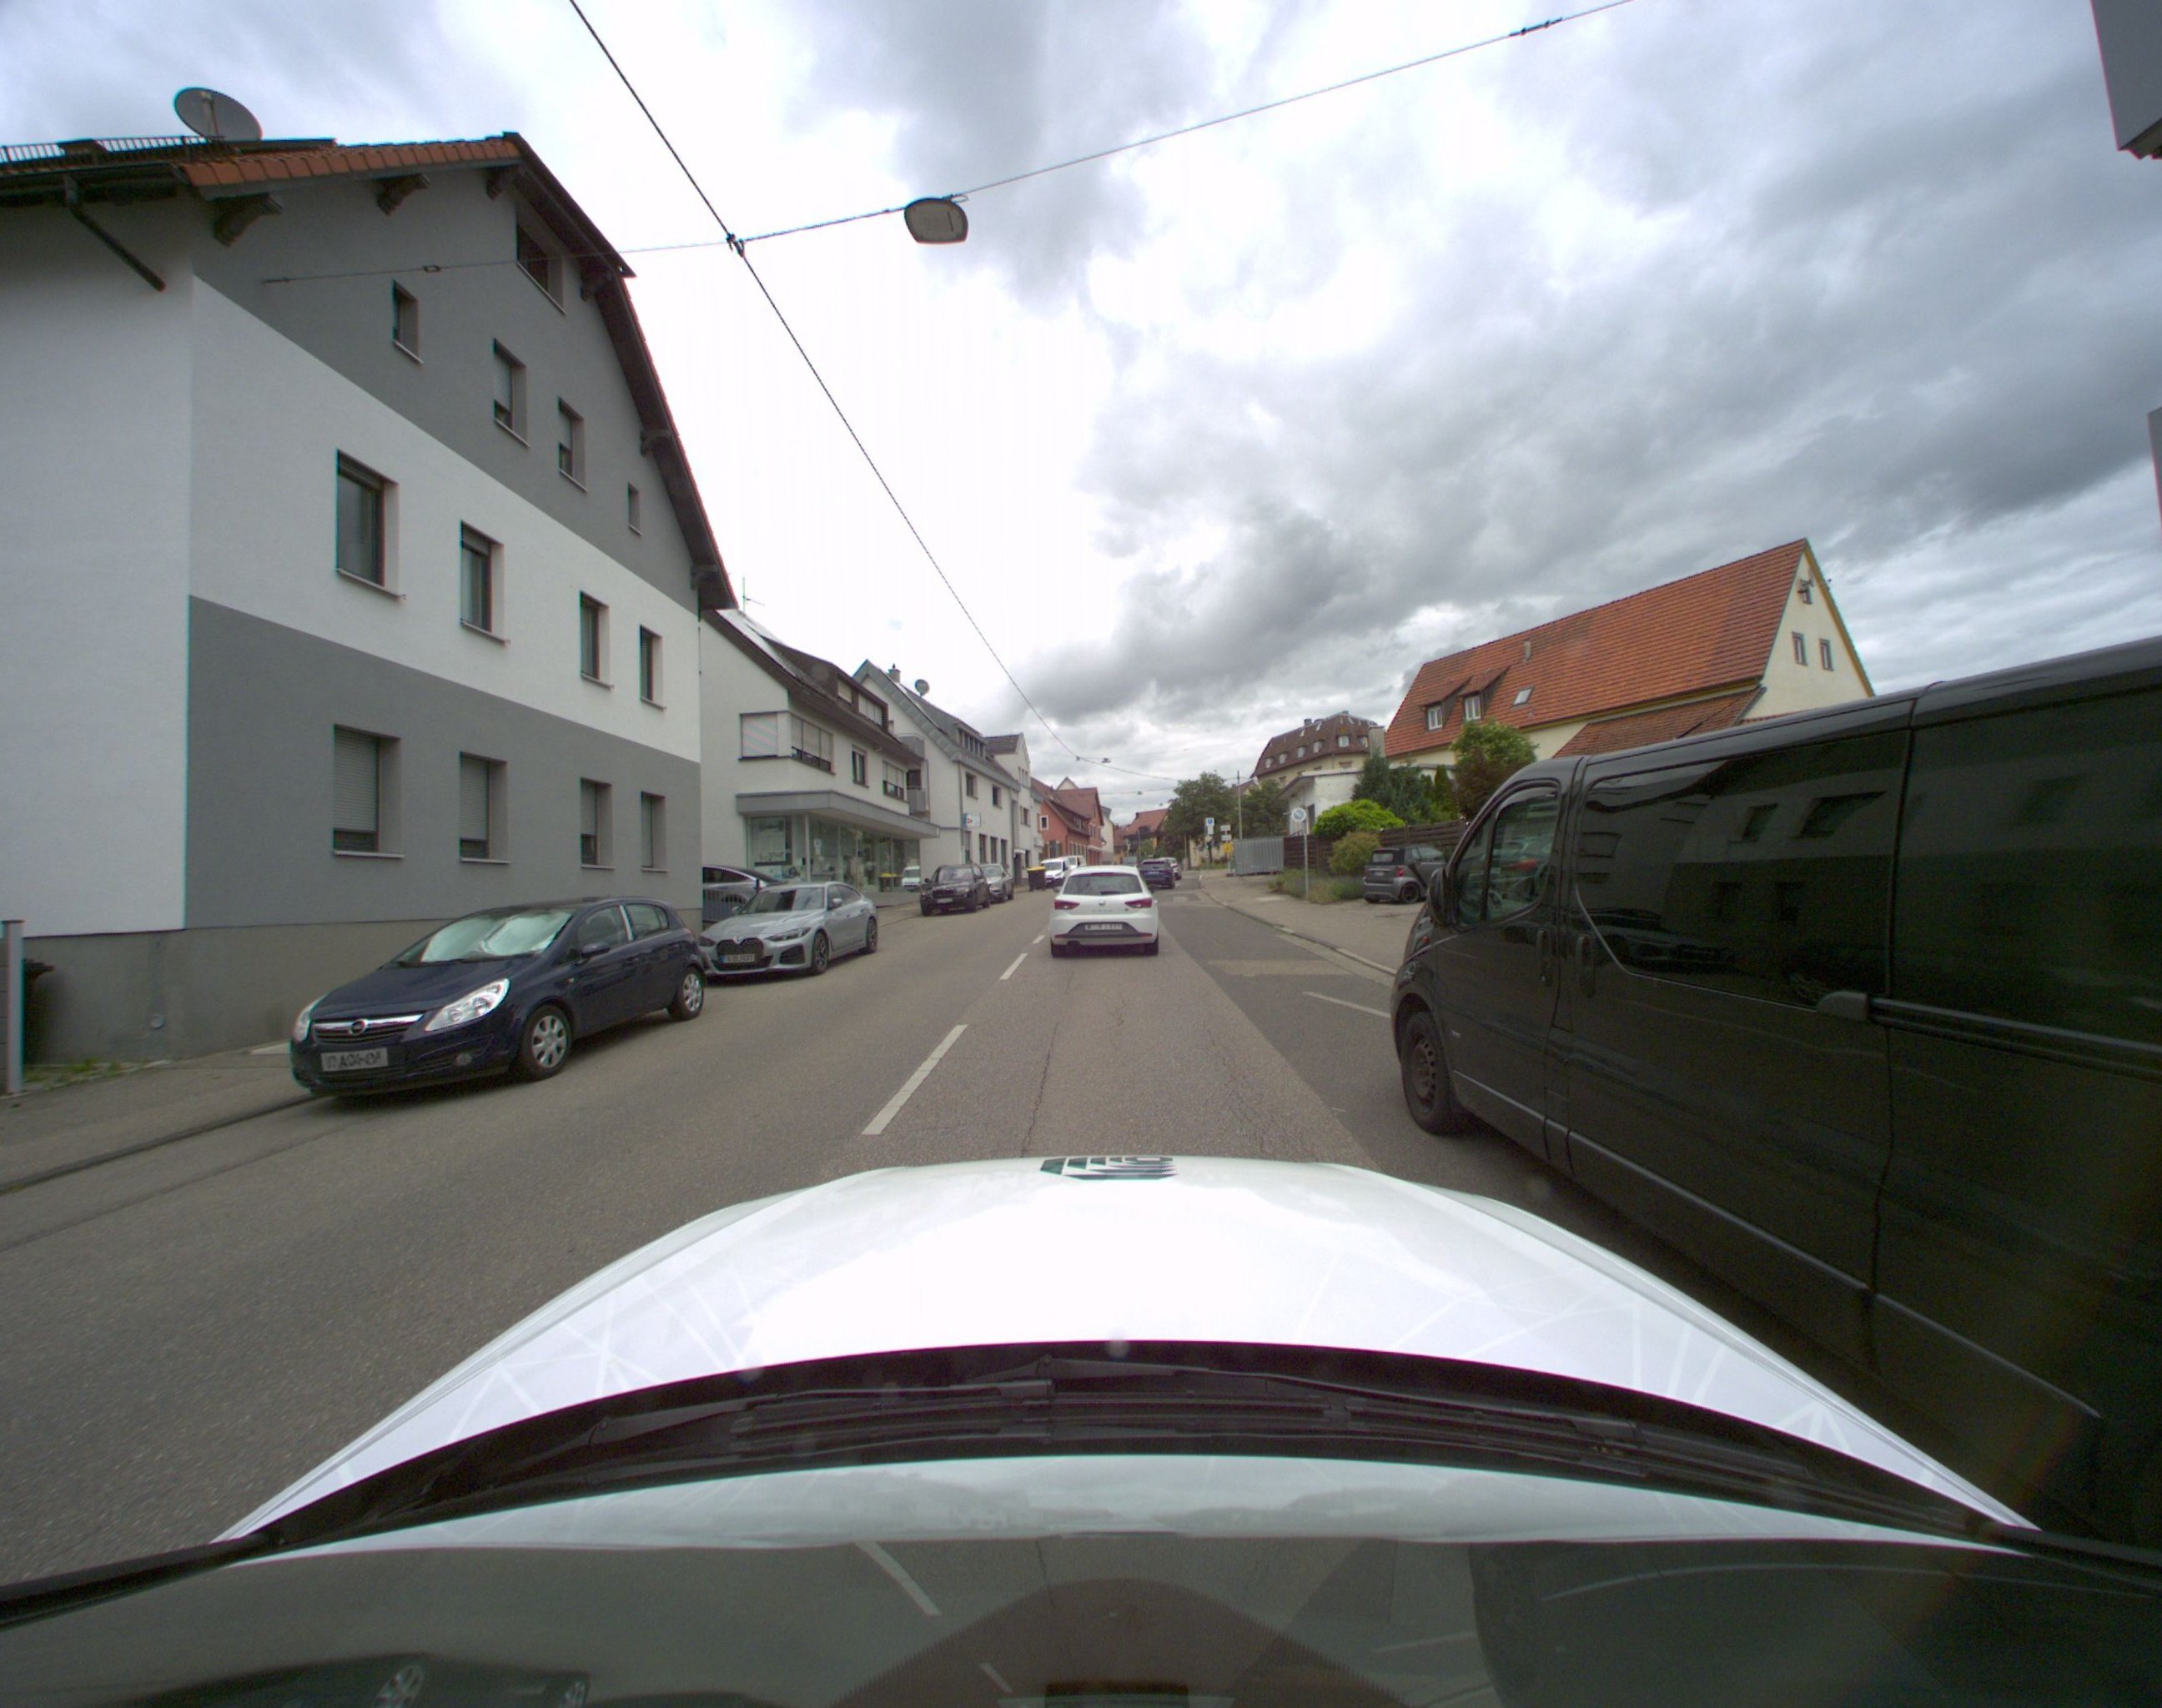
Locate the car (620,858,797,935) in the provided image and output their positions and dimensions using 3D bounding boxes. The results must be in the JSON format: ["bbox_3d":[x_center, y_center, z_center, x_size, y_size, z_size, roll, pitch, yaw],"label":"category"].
[{"bbox_3d":[-10.399,1.147,22.940,3.970,1.856,2.002,-3,-1,3],"label":"car"}]

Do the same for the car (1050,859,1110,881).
[{"bbox_3d":[-0.053,1.321,66.520,4.523,1.445,2.006,-5,-1,11],"label":"car"}]

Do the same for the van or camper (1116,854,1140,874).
[{"bbox_3d":[5.248,1.138,90.255,2.062,2.006,4.868,-5,-3,8],"label":"van or camper"}]

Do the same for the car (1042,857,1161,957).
[{"bbox_3d":[0.497,0.846,14.384,1.750,1.452,4.006,-2,-1,5],"label":"car"}]

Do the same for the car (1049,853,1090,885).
[{"bbox_3d":[-0.726,1.022,56.857,1.801,2.005,4.777,-5,-1,10],"label":"car"}]

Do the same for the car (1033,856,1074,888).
[{"bbox_3d":[-1.658,1.099,51.341,1.724,1.832,4.307,-5,-1,8],"label":"car"}]

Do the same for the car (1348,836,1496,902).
[{"bbox_3d":[9.173,0.378,21.958,3.322,1.519,1.693,-3,0,-18],"label":"car"}]

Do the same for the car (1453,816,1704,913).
[{"bbox_3d":[10.192,0.198,16.866,4.108,1.654,1.900,-3,0,-7],"label":"car"}]

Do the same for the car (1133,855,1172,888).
[{"bbox_3d":[3.514,0.864,39.719,1.749,1.452,4.006,-2,-2,6],"label":"car"}]

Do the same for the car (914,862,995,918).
[{"bbox_3d":[-4.254,1.162,28.111,1.830,1.633,4.410,-4,-1,2],"label":"car"}]

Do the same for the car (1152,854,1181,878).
[{"bbox_3d":[5.606,0.839,53.497,1.749,1.452,4.006,-2,-2,6],"label":"car"}]

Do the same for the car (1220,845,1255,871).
[{"bbox_3d":[11.469,0.304,60.011,1.739,1.739,4.574,-4,0,2],"label":"car"}]

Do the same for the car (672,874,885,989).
[{"bbox_3d":[-4.926,1.175,14.029,1.831,1.445,4.468,-4,0,1],"label":"car"}]

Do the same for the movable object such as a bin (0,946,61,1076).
[{"bbox_3d":[-9.957,1.418,7.273,0.723,1.112,0.764,-1,-1,2],"label":"movable object such as a bin"}]

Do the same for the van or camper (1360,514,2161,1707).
[{"bbox_3d":[2.764,0.465,2.748,1.987,2.014,5.064,0,0,1],"label":"van or camper"}]

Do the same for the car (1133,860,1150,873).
[{"bbox_3d":[8.258,1.701,110.682,1.991,1.633,4.857,-2,-2,1],"label":"car"}]

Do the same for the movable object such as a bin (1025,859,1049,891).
[{"bbox_3d":[-2.445,1.158,45.412,1.136,1.633,1.564,-4,-1,2],"label":"movable object such as a bin"}]

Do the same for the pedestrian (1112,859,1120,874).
[{"bbox_3d":[4.184,1.456,97.335,0.796,1.785,0.895,-2,-1,8],"label":"pedestrian"}]

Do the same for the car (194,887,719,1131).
[{"bbox_3d":[-5.296,1.169,7.753,1.832,1.445,3.998,-4,-1,-1],"label":"car"}]

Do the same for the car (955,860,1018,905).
[{"bbox_3d":[-3.830,1.126,33.779,1.830,1.633,4.410,-4,0,2],"label":"car"}]

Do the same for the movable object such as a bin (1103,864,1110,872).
[{"bbox_3d":[3.110,1.693,99.657,0.662,1.018,0.796,-3,-1,5],"label":"movable object such as a bin"}]
